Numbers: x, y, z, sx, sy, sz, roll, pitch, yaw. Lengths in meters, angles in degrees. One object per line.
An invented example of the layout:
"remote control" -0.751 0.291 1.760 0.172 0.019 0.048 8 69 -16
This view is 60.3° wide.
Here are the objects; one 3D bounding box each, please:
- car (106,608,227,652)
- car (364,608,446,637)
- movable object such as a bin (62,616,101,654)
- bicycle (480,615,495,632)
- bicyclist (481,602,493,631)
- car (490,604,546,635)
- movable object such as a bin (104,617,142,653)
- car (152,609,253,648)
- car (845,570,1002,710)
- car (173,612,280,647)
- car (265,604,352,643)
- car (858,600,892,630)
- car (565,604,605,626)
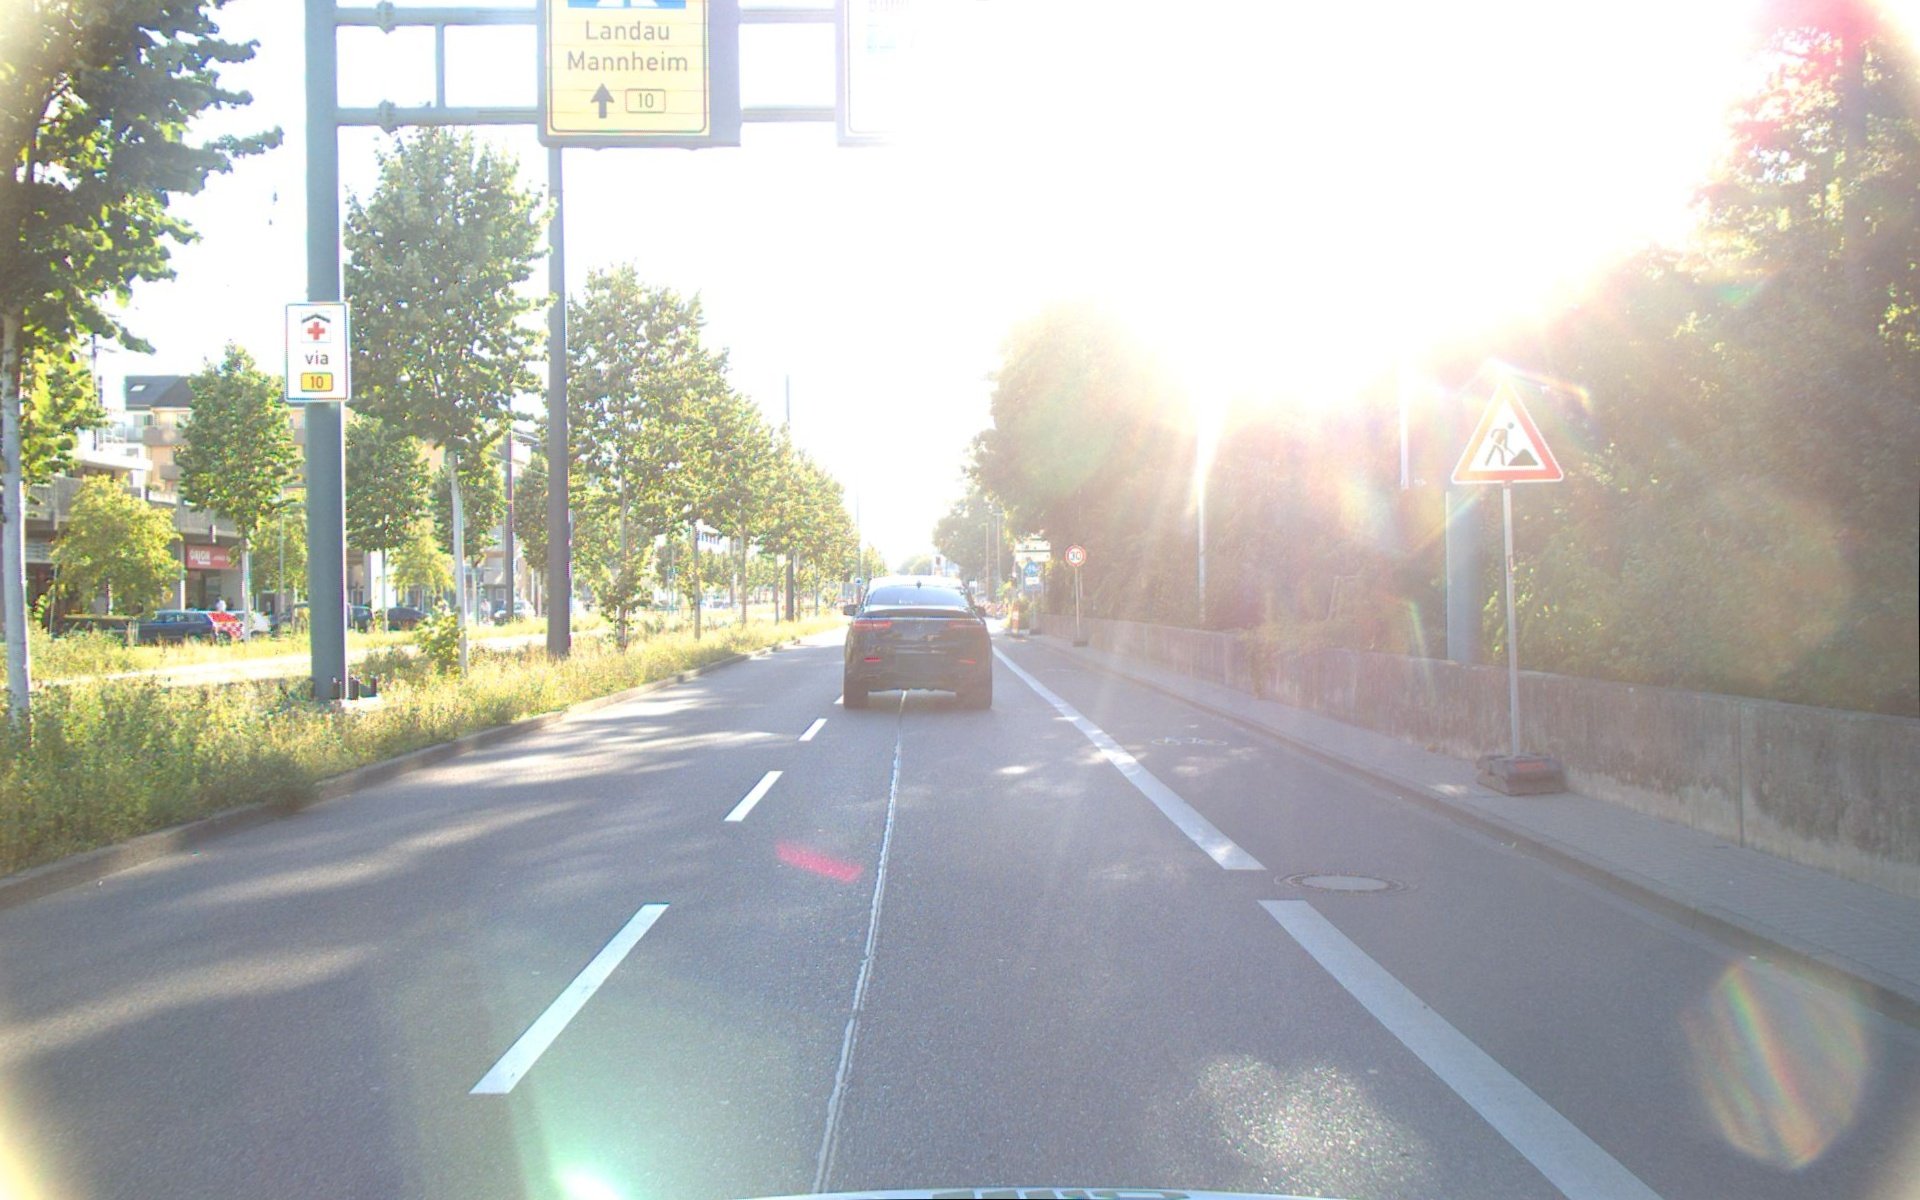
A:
"car" -31.783 1.202 66.314 4.061 1.629 1.723 2 0 -42
"car" -31.287 1.244 93.293 3.968 1.590 1.969 1 0 -43
"movable object such as a bin" -32.313 1.281 60.836 0.839 1.381 0.940 -1 0 13
"bicycle" -29.729 1.468 103.994 0.533 1.010 1.710 1 0 -4
"bicyclist" -29.742 1.050 104.089 0.529 1.819 0.857 1 0 -4
"car" -25.741 1.134 96.505 1.847 1.718 5.089 0 0 1
"movable object such as a bin" -30.960 1.294 61.190 0.839 1.303 0.940 -1 0 13
"car" -32.022 1.215 69.975 3.595 1.550 1.596 2 -1 -42
"car" -0.597 0.500 22.996 1.954 1.765 3.996 0 0 -5
"car" -32.256 1.279 72.823 1.754 1.478 3.978 0 0 40
"car" -32.592 1.172 82.782 3.725 1.861 1.797 1 0 -41
"car" -4.810 0.818 93.846 1.848 1.608 3.999 0 1 -2
"car" -26.401 1.033 116.571 1.847 1.541 4.000 0 0 1
